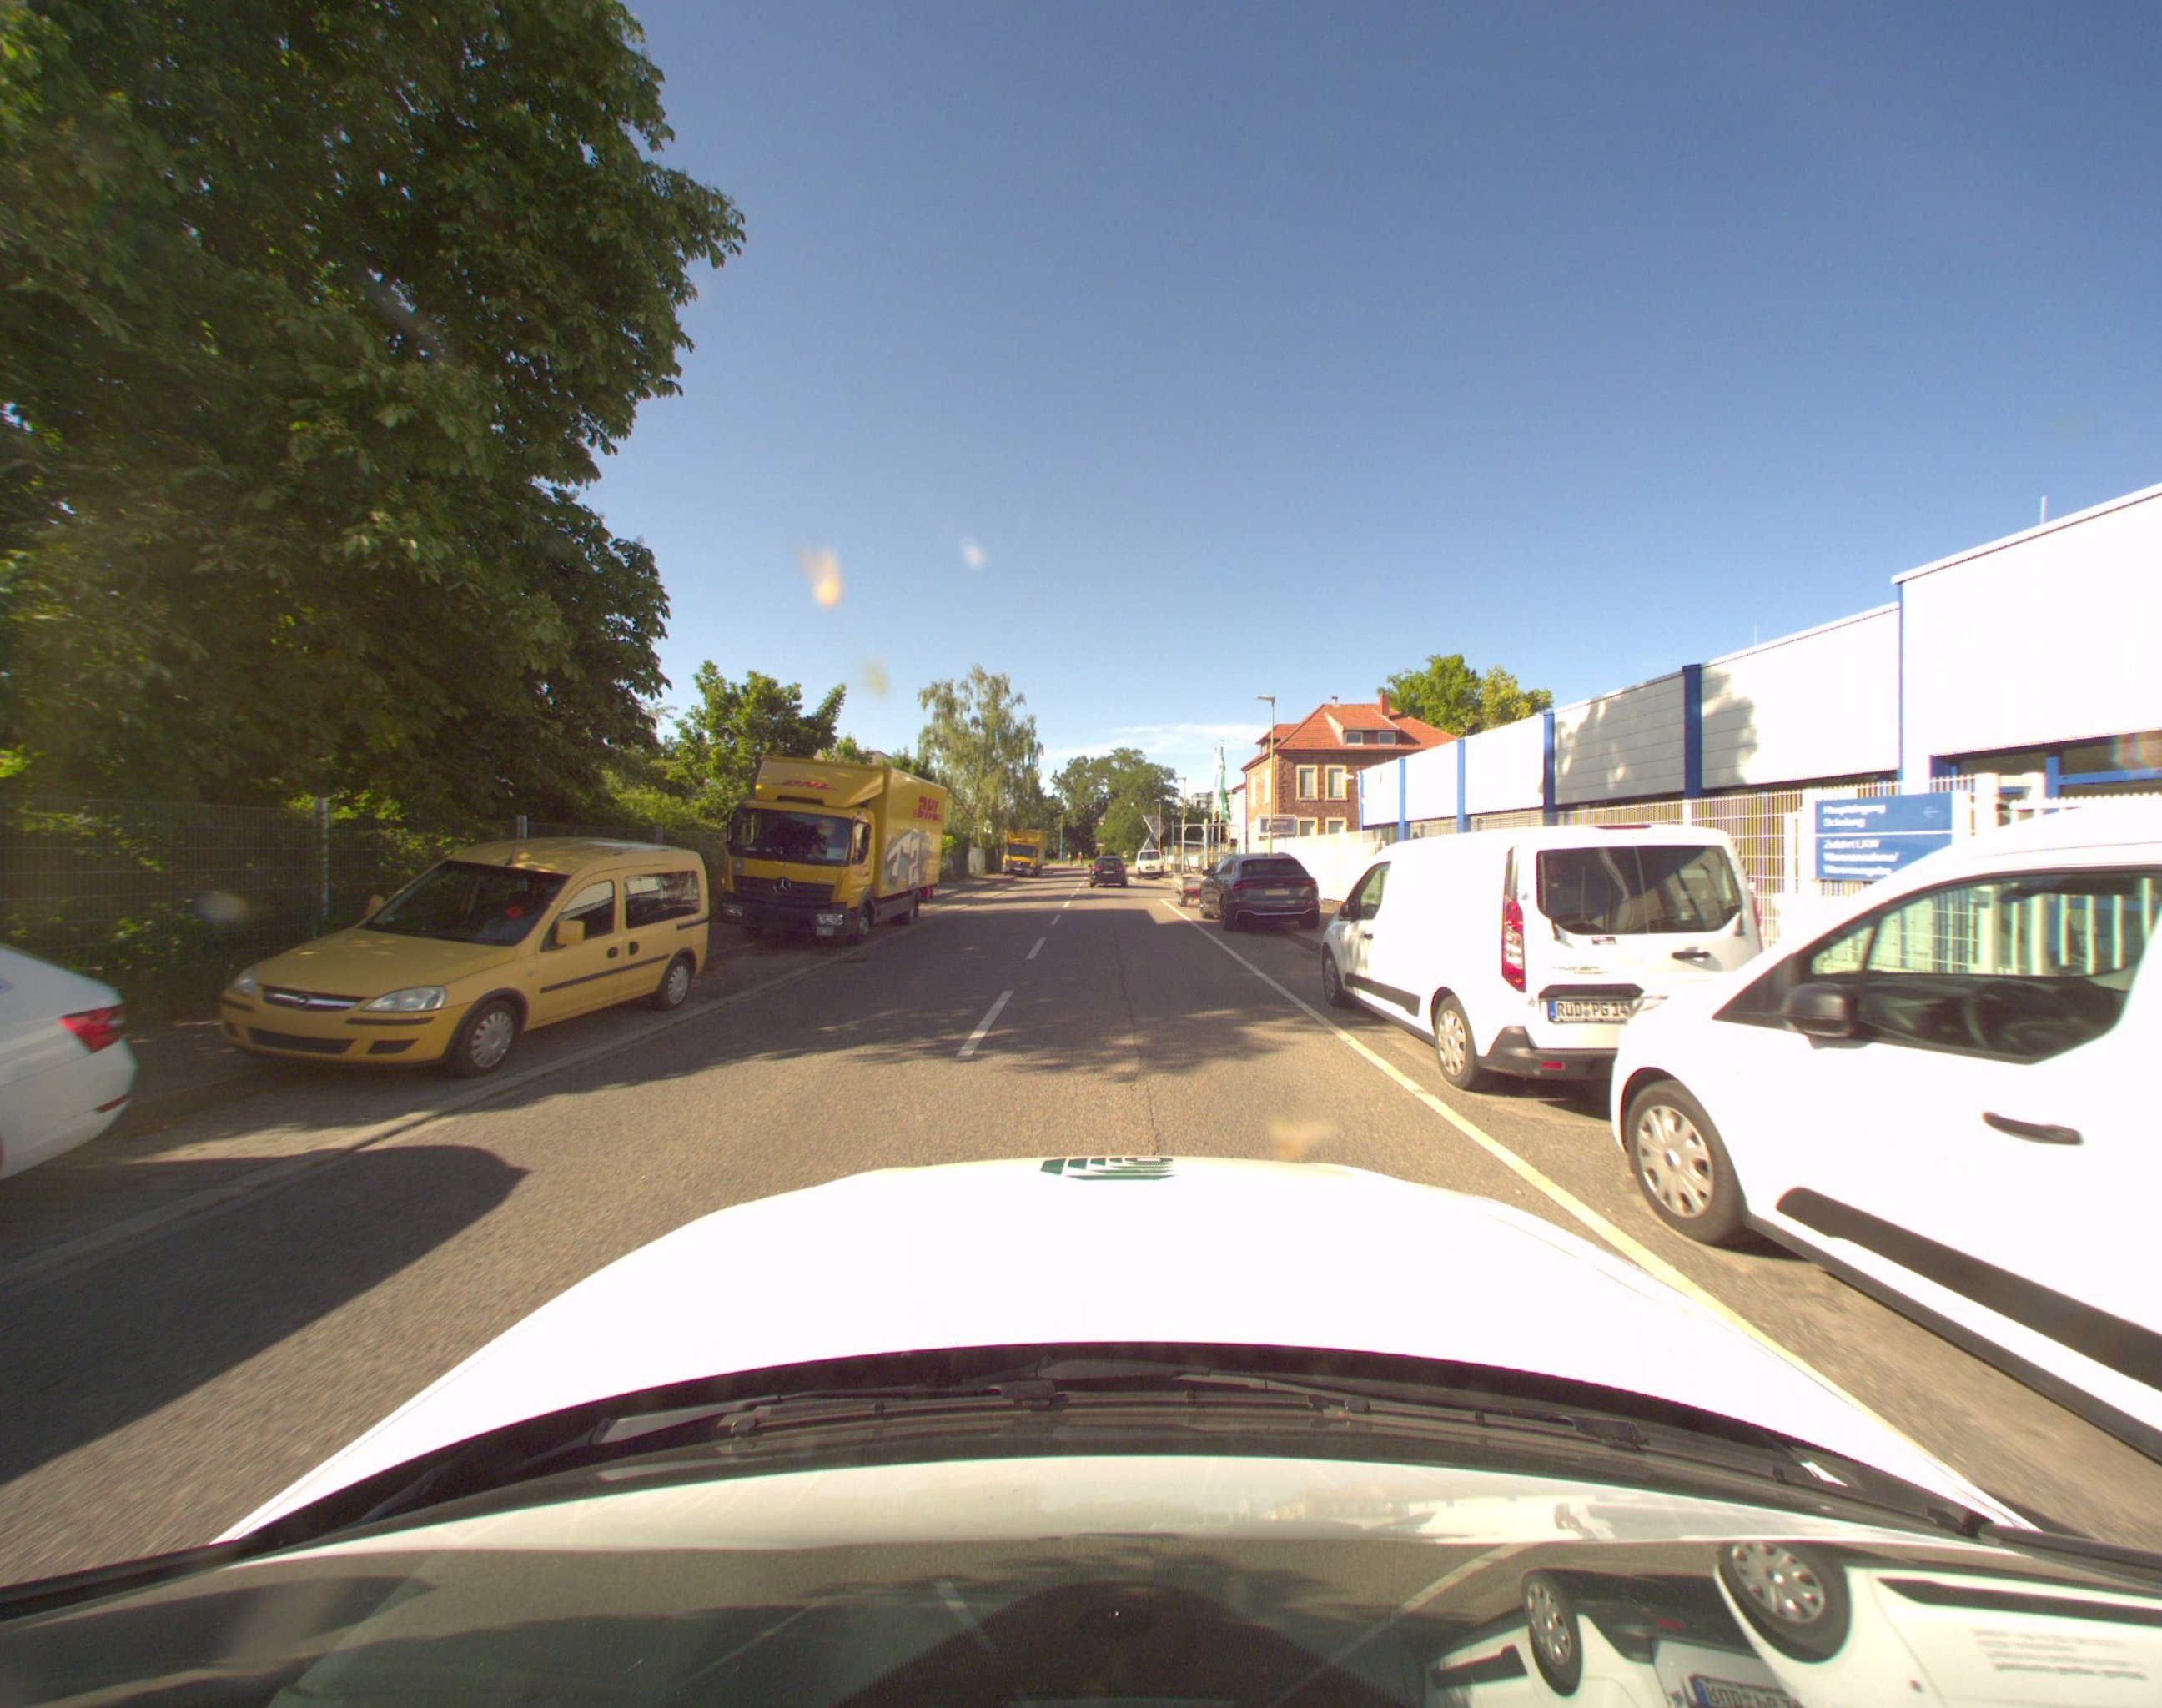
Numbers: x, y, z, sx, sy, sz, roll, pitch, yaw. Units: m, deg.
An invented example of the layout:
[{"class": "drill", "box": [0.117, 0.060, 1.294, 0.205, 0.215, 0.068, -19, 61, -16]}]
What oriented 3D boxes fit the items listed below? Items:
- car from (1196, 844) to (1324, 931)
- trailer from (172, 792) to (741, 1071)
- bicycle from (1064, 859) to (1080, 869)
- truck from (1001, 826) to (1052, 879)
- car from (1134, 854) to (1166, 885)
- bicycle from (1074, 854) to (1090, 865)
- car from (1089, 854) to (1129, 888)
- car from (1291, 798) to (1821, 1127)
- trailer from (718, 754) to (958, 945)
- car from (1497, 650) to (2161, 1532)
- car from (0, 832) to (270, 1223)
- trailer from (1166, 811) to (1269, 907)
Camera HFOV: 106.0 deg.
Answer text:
[{"class": "car", "box": [3.909, 0.713, 18.628, 1.986, 1.667, 4.733, 2, -1, 2]}, {"class": "trailer", "box": [-5.273, 0.572, 7.887, 1.986, 1.942, 4.416, 0, -1, 2]}, {"class": "bicycle", "box": [-1.136, 1.275, 103.005, 0.810, 1.221, 2.233, 3, -1, -38]}, {"class": "truck", "box": [-4.053, -0.143, 62.406, 2.622, 3.505, 8.661, 6, 1, 2]}, {"class": "car", "box": [4.697, 1.058, 56.121, 1.867, 2.014, 5.162, 2, -1, 2]}, {"class": "bicycle", "box": [0.156, 0.664, 99.749, 0.809, 1.268, 2.235, 3, -1, -33]}, {"class": "car", "box": [1.351, 0.776, 38.853, 1.840, 1.530, 4.002, 0, 0, 2]}, {"class": "car", "box": [3.410, 0.667, 7.283, 1.848, 1.831, 5.170, 2, -1, 2]}, {"class": "trailer", "box": [-5.004, -0.027, 18.807, 2.981, 3.443, 8.161, 0, -1, 0]}, {"class": "car", "box": [3.228, 0.523, 2.044, 1.879, 1.847, 5.105, 2, -1, 2]}, {"class": "car", "box": [-5.564, 0.689, 1.965, 1.900, 1.593, 5.028, 4, 0, 2]}, {"class": "trailer", "box": [4.104, 0.167, 25.619, 2.451, 2.673, 5.703, 0, -1, 1]}]
